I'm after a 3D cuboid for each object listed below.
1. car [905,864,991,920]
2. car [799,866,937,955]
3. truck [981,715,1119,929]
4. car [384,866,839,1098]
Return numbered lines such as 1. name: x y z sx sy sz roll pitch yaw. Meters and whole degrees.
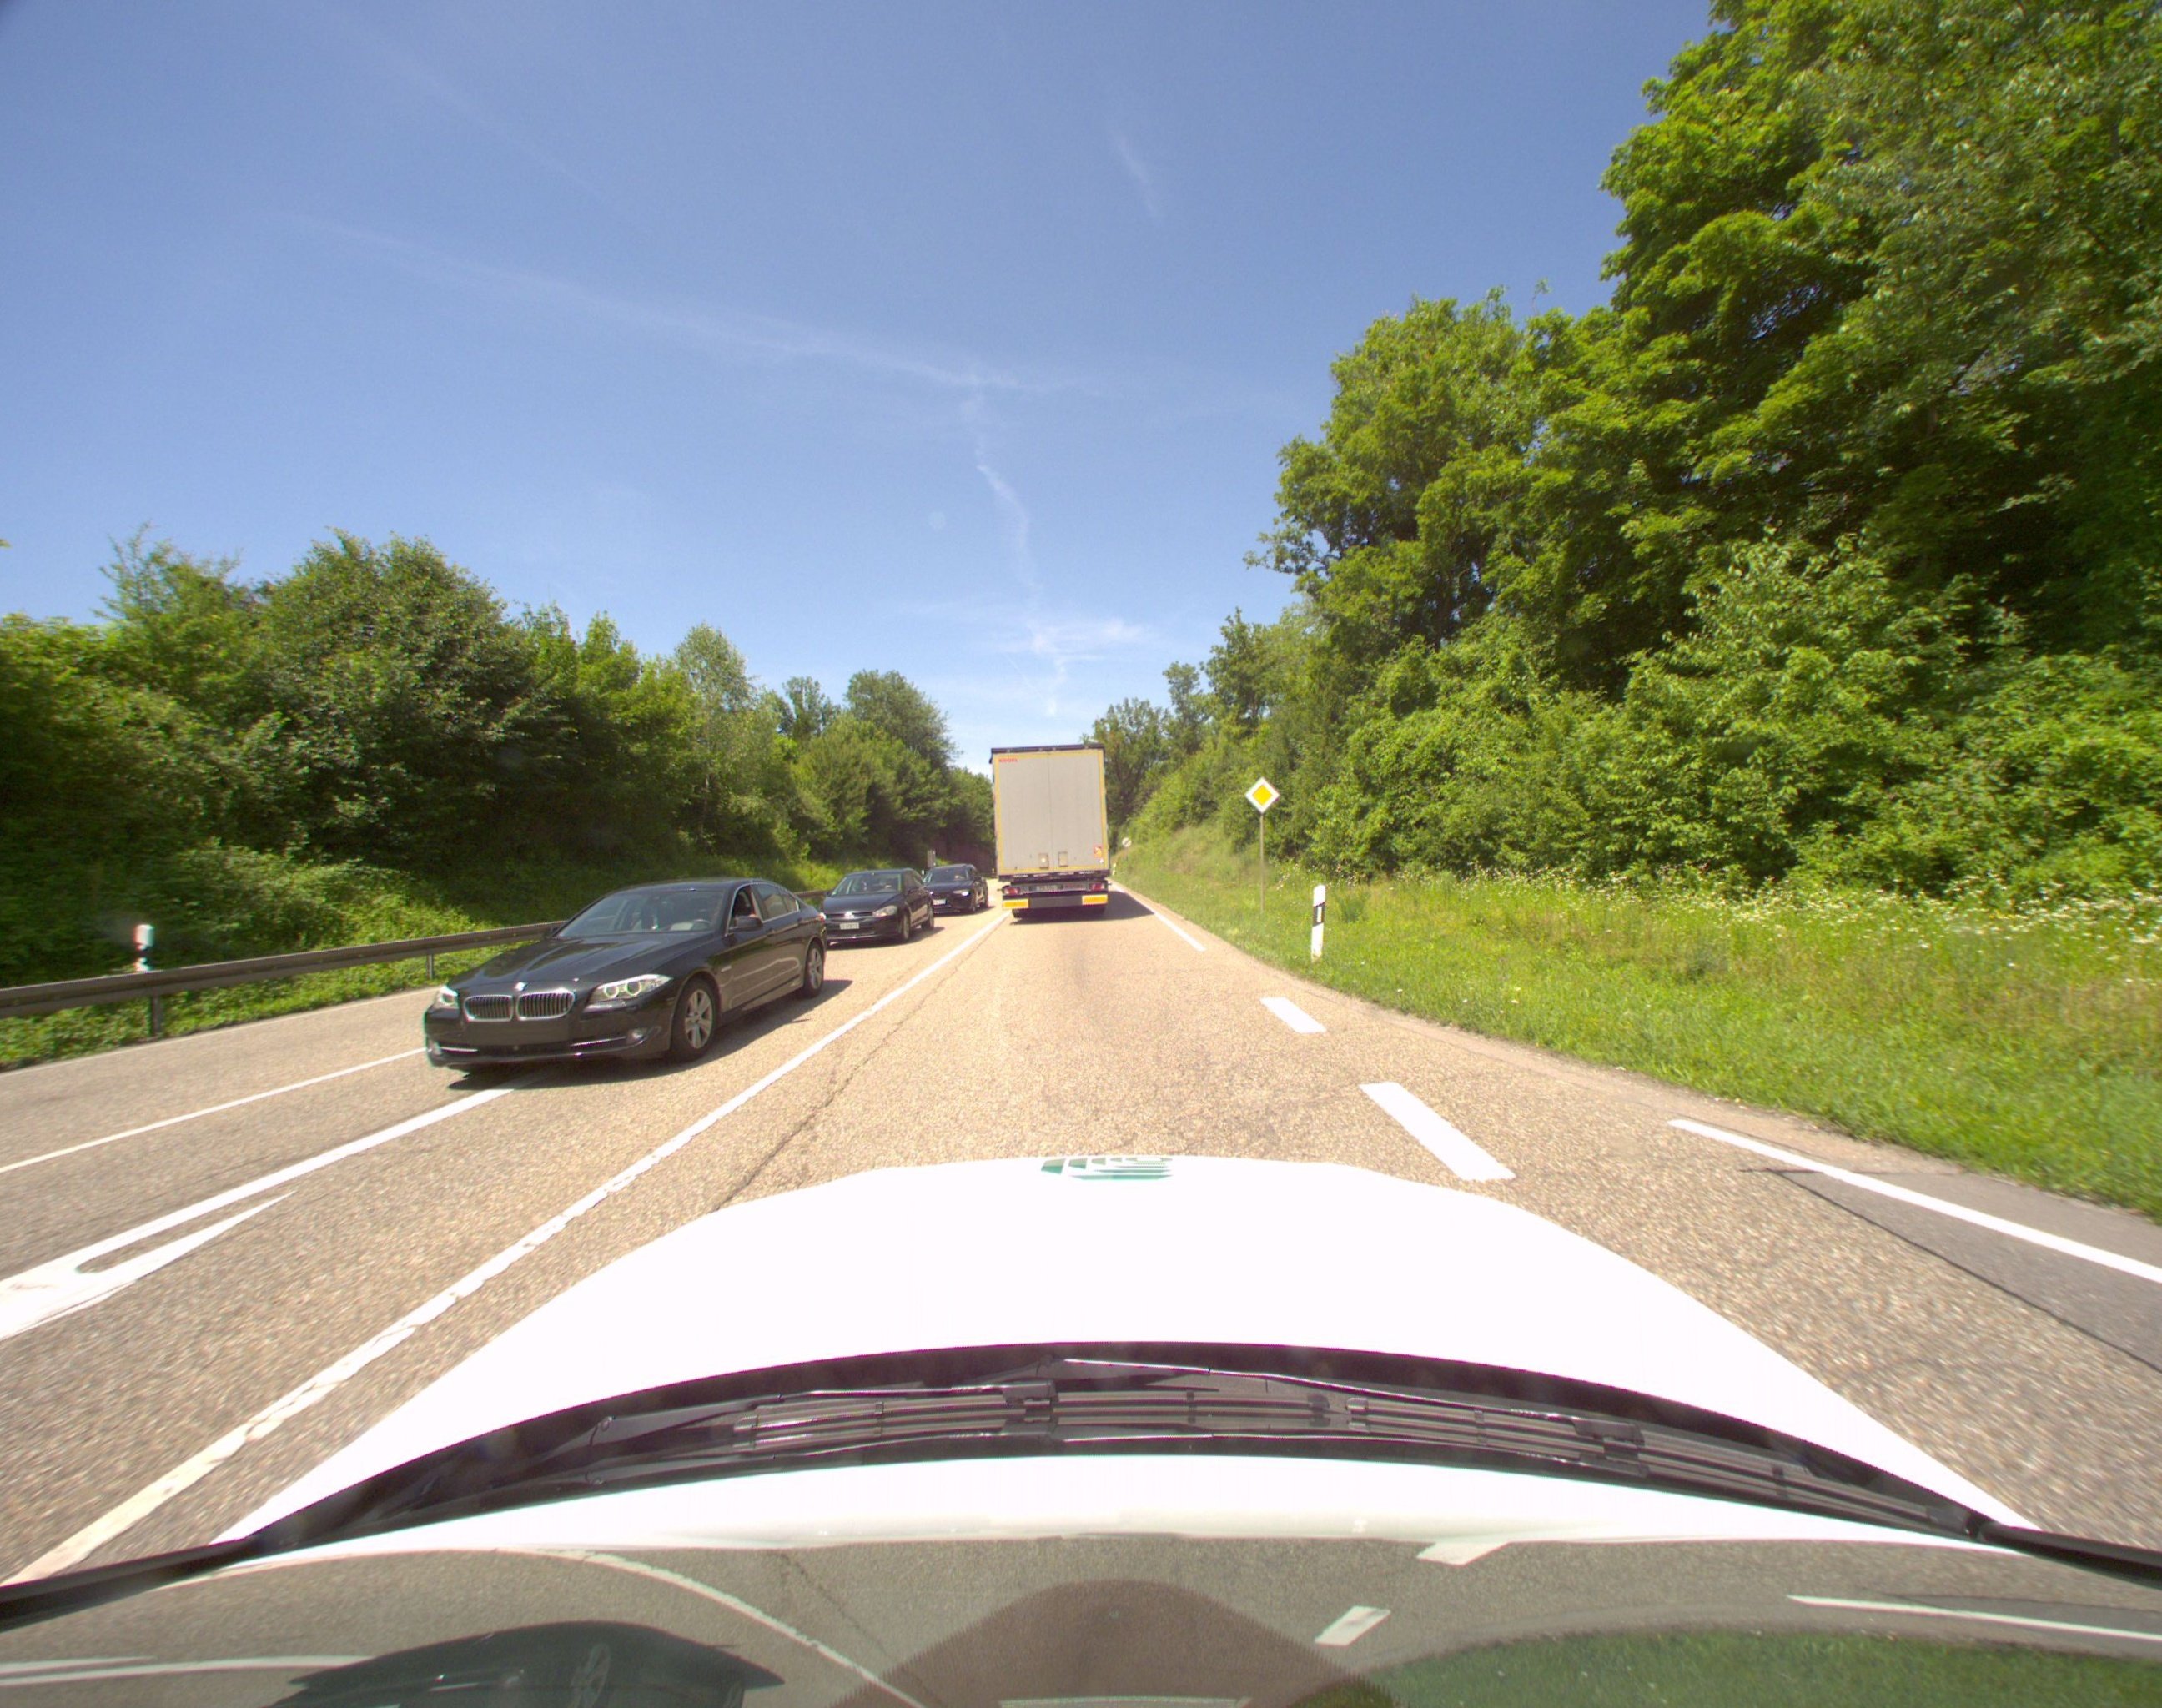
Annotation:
1. car: -3.972 1.088 24.964 1.798 1.453 4.386 -3 0 0
2. car: -4.167 1.039 16.624 1.676 1.414 4.180 -3 0 -1
3. truck: -0.764 -0.708 21.439 2.815 4.603 6.661 -3 0 -1
4. car: -3.970 0.928 8.025 1.776 1.447 4.638 -3 0 -1
